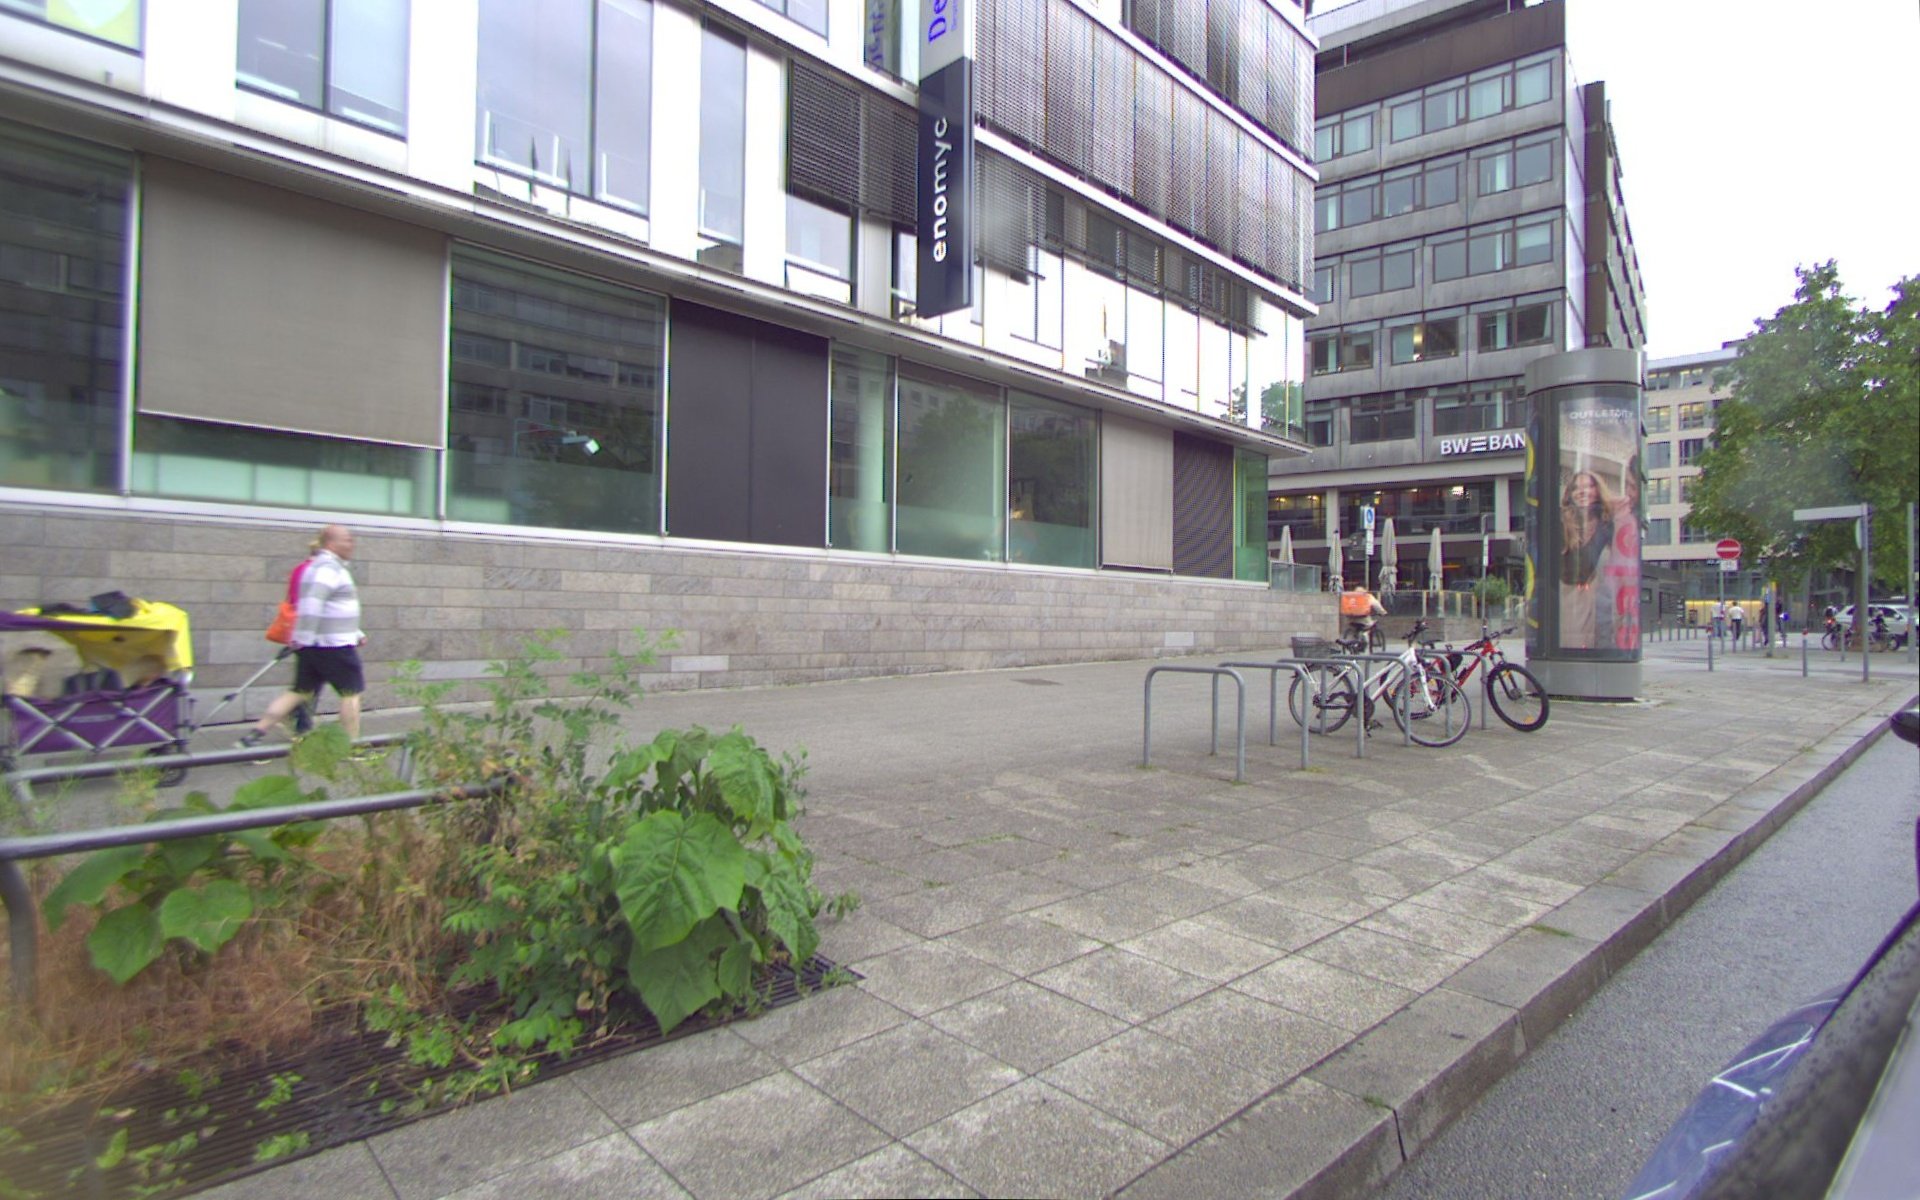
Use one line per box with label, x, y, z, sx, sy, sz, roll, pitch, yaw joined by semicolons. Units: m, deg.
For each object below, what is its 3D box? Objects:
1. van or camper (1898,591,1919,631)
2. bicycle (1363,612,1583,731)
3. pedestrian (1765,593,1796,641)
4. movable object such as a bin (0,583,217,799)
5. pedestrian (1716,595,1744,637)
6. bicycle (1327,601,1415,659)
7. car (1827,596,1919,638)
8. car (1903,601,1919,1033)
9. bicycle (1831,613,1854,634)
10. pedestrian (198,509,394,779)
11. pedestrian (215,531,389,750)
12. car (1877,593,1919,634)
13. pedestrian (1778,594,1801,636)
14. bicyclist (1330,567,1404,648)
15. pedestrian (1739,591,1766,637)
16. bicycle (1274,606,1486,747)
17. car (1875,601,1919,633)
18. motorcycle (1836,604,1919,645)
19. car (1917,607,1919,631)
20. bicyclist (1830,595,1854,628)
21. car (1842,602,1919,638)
van or camper;61.336;0.635;61.433;2.267;2.479;6.275;0;-1;-11
bicycle;5.507;0.716;10.986;0.793;1.118;1.989;1;0;-37
pedestrian;29.244;0.607;36.069;0.714;1.707;0.524;-1;-2;27
movable object such as a bin;-5.718;0.544;6.501;1.420;1.280;0.732;2;-1;-44
pedestrian;34.831;0.738;45.776;0.883;1.893;0.802;1;-2;-42
bicycle;8.553;0.592;21.015;1.009;1.128;2.034;1;1;44
car;38.724;0.685;41.372;1.876;1.671;4.812;0;-1;-11
car;5.088;0.719;4.075;3.770;1.435;1.631;0;-1;-43
bicycle;49.938;1.317;57.243;1.945;1.154;0.775;1;-5;-45
pedestrian;-4.919;0.280;7.500;0.900;1.814;1.030;2;1;44
pedestrian;-5.542;0.301;8.540;0.718;1.711;1.082;2;1;44
car;48.790;0.661;50.233;1.882;2.018;4.525;0;-1;-12
pedestrian;38.028;0.681;46.385;0.719;1.908;0.646;-2;-2;43
bicyclist;8.419;0.167;20.932;1.011;1.603;1.118;-4;-3;43
pedestrian;35.434;0.627;45.234;0.849;2.065;0.741;-2;-2;43
bicycle;4.048;0.684;9.894;0.648;1.212;1.841;1;0;-37
car;46.781;0.807;48.222;1.876;1.557;4.399;0;-1;-14
motorcycle;31.784;0.847;35.041;0.664;1.375;2.090;1;-2;-34
car;58.725;1.077;58.933;1.673;1.442;4.068;0;-1;-12
bicyclist;49.821;0.646;57.176;1.062;1.772;0.810;-1;-4;-44
car;41.081;0.856;43.399;1.877;1.493;4.729;0;-1;-9
